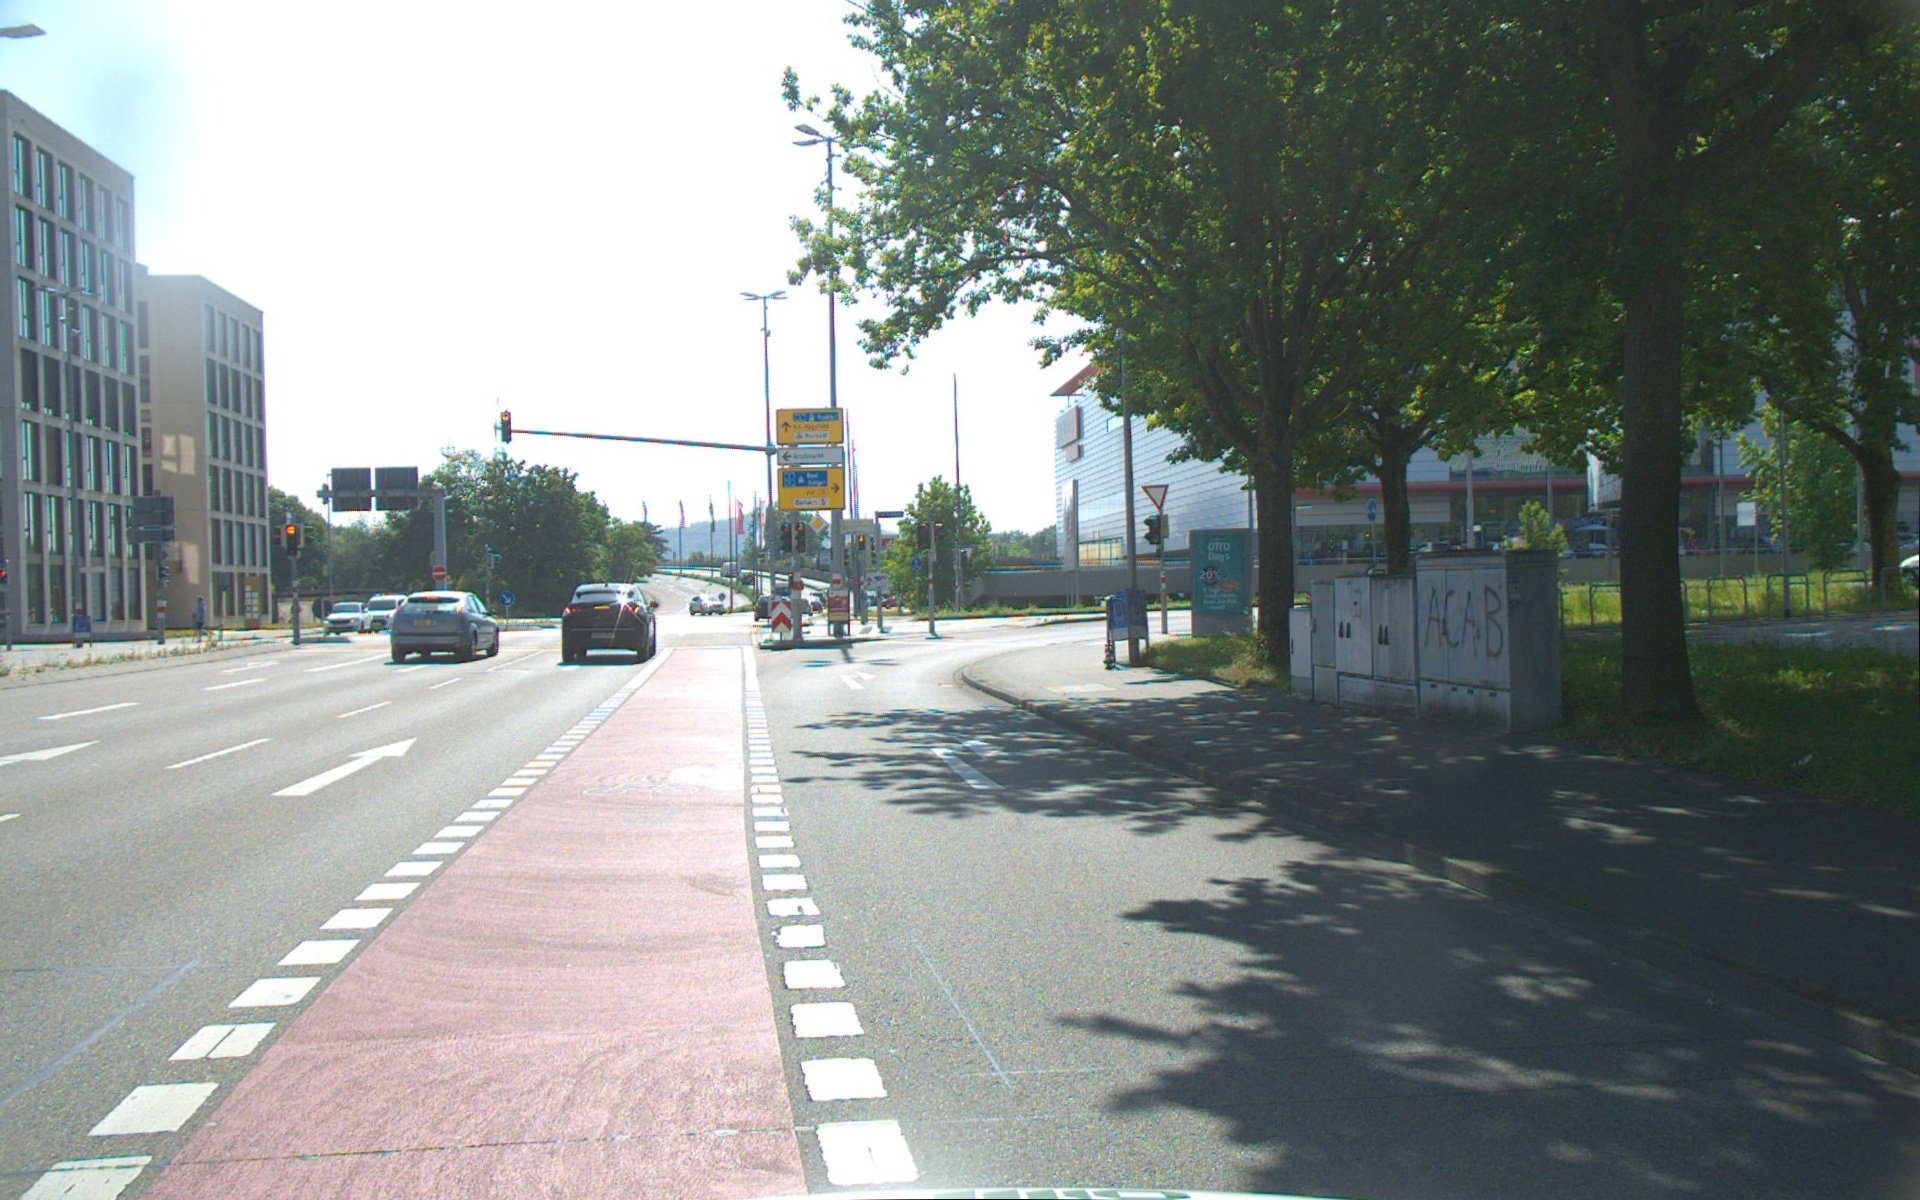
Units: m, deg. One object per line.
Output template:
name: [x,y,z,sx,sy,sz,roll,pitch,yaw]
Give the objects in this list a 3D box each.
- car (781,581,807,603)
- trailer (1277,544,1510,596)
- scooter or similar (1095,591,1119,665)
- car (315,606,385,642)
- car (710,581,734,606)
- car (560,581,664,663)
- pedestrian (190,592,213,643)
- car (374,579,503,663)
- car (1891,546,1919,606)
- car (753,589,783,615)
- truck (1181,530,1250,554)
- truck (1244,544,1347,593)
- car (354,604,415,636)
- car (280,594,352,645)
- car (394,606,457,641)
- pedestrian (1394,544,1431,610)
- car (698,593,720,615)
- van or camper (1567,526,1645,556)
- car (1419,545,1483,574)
car: [-11.230,-0.577,112.007,1.656,1.382,3.996,1,1,-5]
trailer: [22.423,-1.568,85.688,11.637,2.512,1.999,1,1,-4]
scooter or similar: [2.576,0.477,28.935,0.344,1.255,1.312,-2,0,6]
car: [-27.881,1.069,75.738,1.854,1.489,3.998,-2,0,-3]
car: [-20.976,-0.581,145.806,1.955,2.048,3.975,1,1,-7]
car: [-7.719,0.440,37.013,1.772,1.668,4.453,-2,1,-6]
pedestrian: [-31.113,0.722,67.823,0.749,2.048,0.924,0,1,-32]
car: [-11.606,0.427,37.073,1.955,1.713,3.994,-2,0,-7]
car: [25.257,-0.638,41.271,1.750,1.515,3.926,-2,0,-1]
car: [-11.139,0.085,96.165,1.656,1.382,3.996,1,1,-5]
truck: [22.813,-5.198,147.834,5.794,2.048,1.998,1,1,-5]
truck: [17.279,-1.633,85.296,4.785,2.466,1.998,1,1,-5]
car: [-28.808,0.981,82.892,1.779,1.489,3.998,-2,0,-3]
car: [-18.285,0.531,47.057,1.192,1.354,2.796,1,1,-6]
car: [-24.939,1.061,77.320,1.779,1.489,3.998,-2,0,-3]
pedestrian: [12.483,-0.633,45.644,0.617,1.800,0.801,-2,0,-18]
car: [-20.965,0.323,138.005,1.727,1.825,3.340,-2,0,-9]
van or camper: [46.640,-4.237,119.385,4.890,2.048,1.997,1,1,-9]
car: [35.278,-2.920,118.915,3.913,2.048,1.996,0,1,-9]
